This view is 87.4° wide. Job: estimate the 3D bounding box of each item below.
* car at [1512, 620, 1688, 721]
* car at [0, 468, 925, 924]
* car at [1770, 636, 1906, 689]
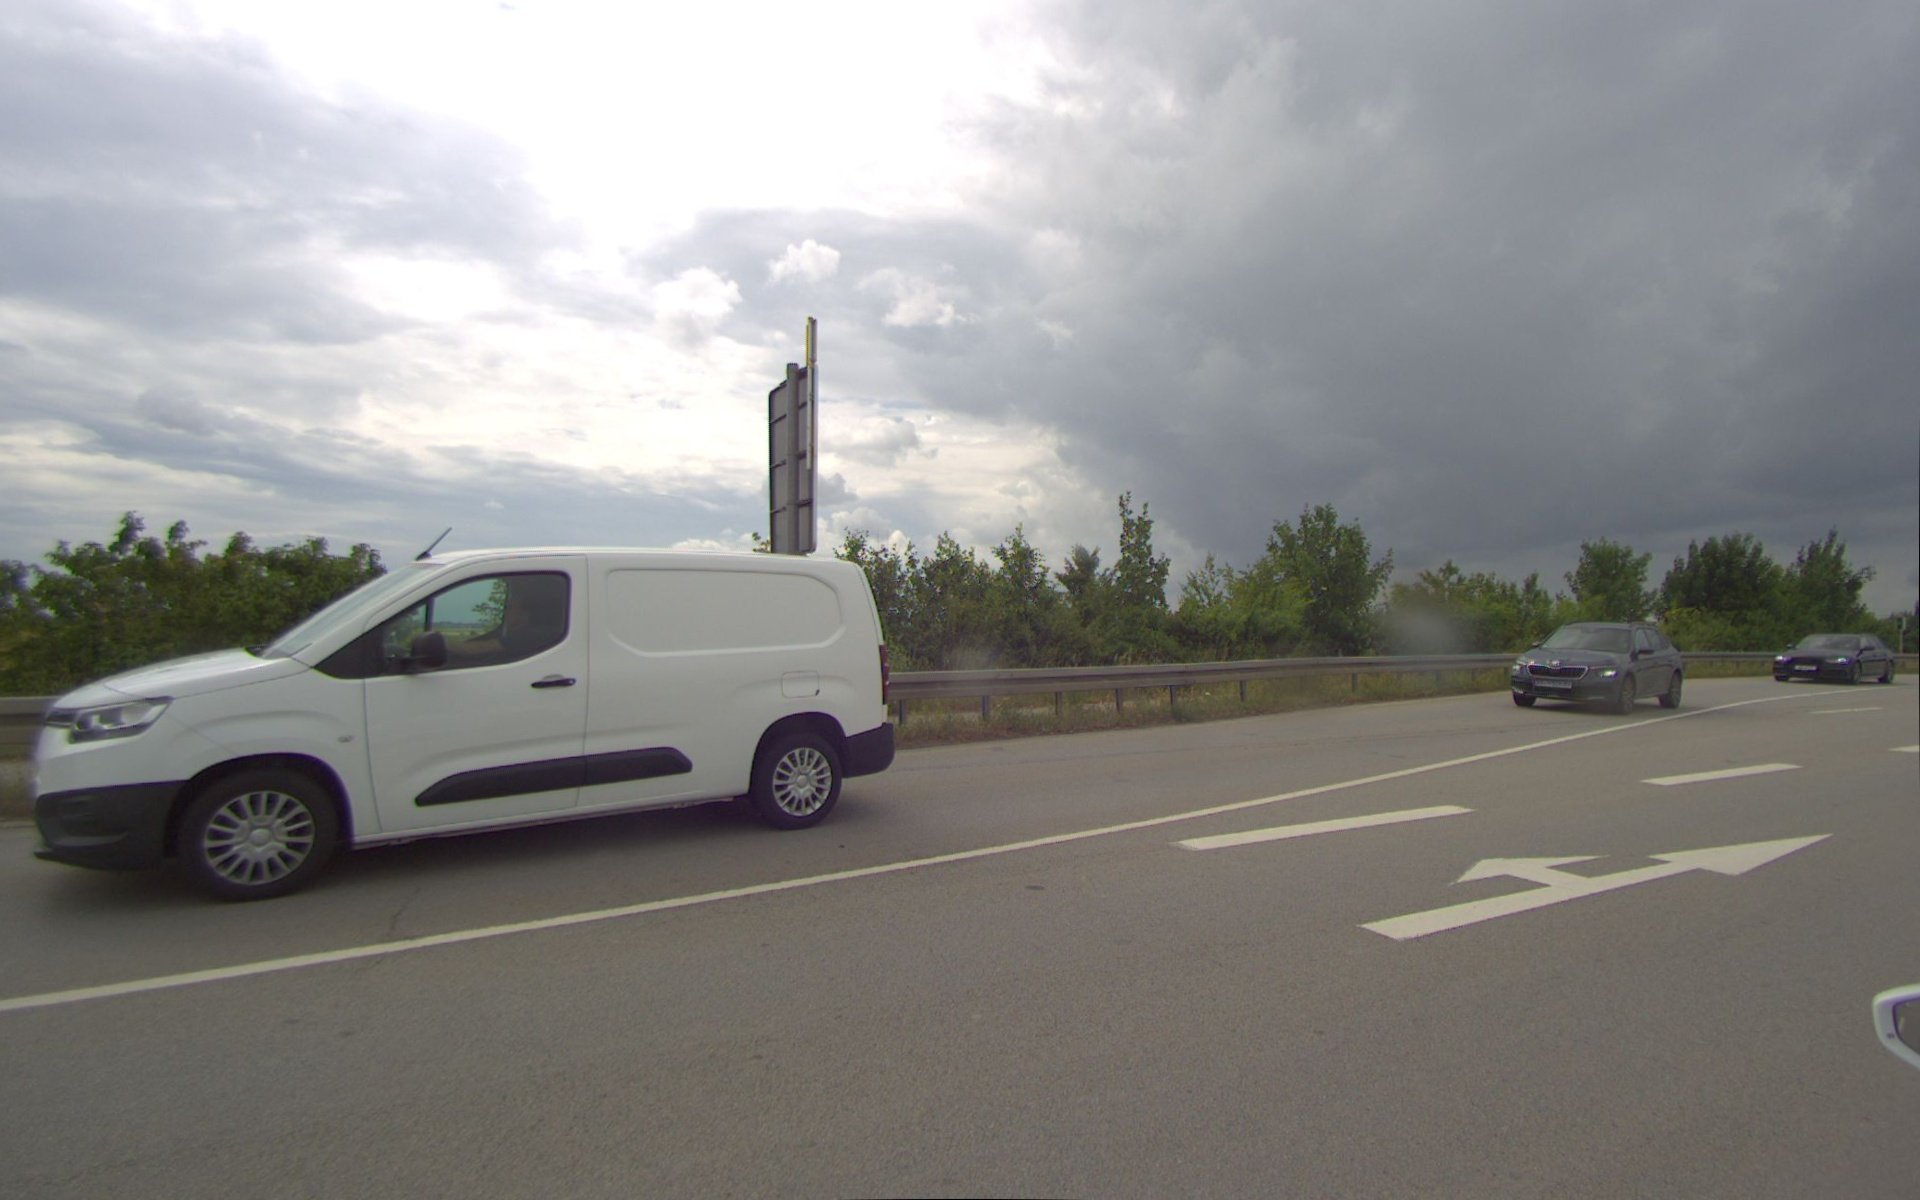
[{"bbox_3d":[11.548,1.201,18.023,4.114,1.578,1.569,2,-1,-41],"label":"car"},{"bbox_3d":[-2.719,0.451,6.457,4.779,1.899,1.938,2,0,-39],"label":"car"},{"bbox_3d":[25.864,1.808,29.544,4.734,1.387,1.798,2,-1,-33],"label":"car"}]
